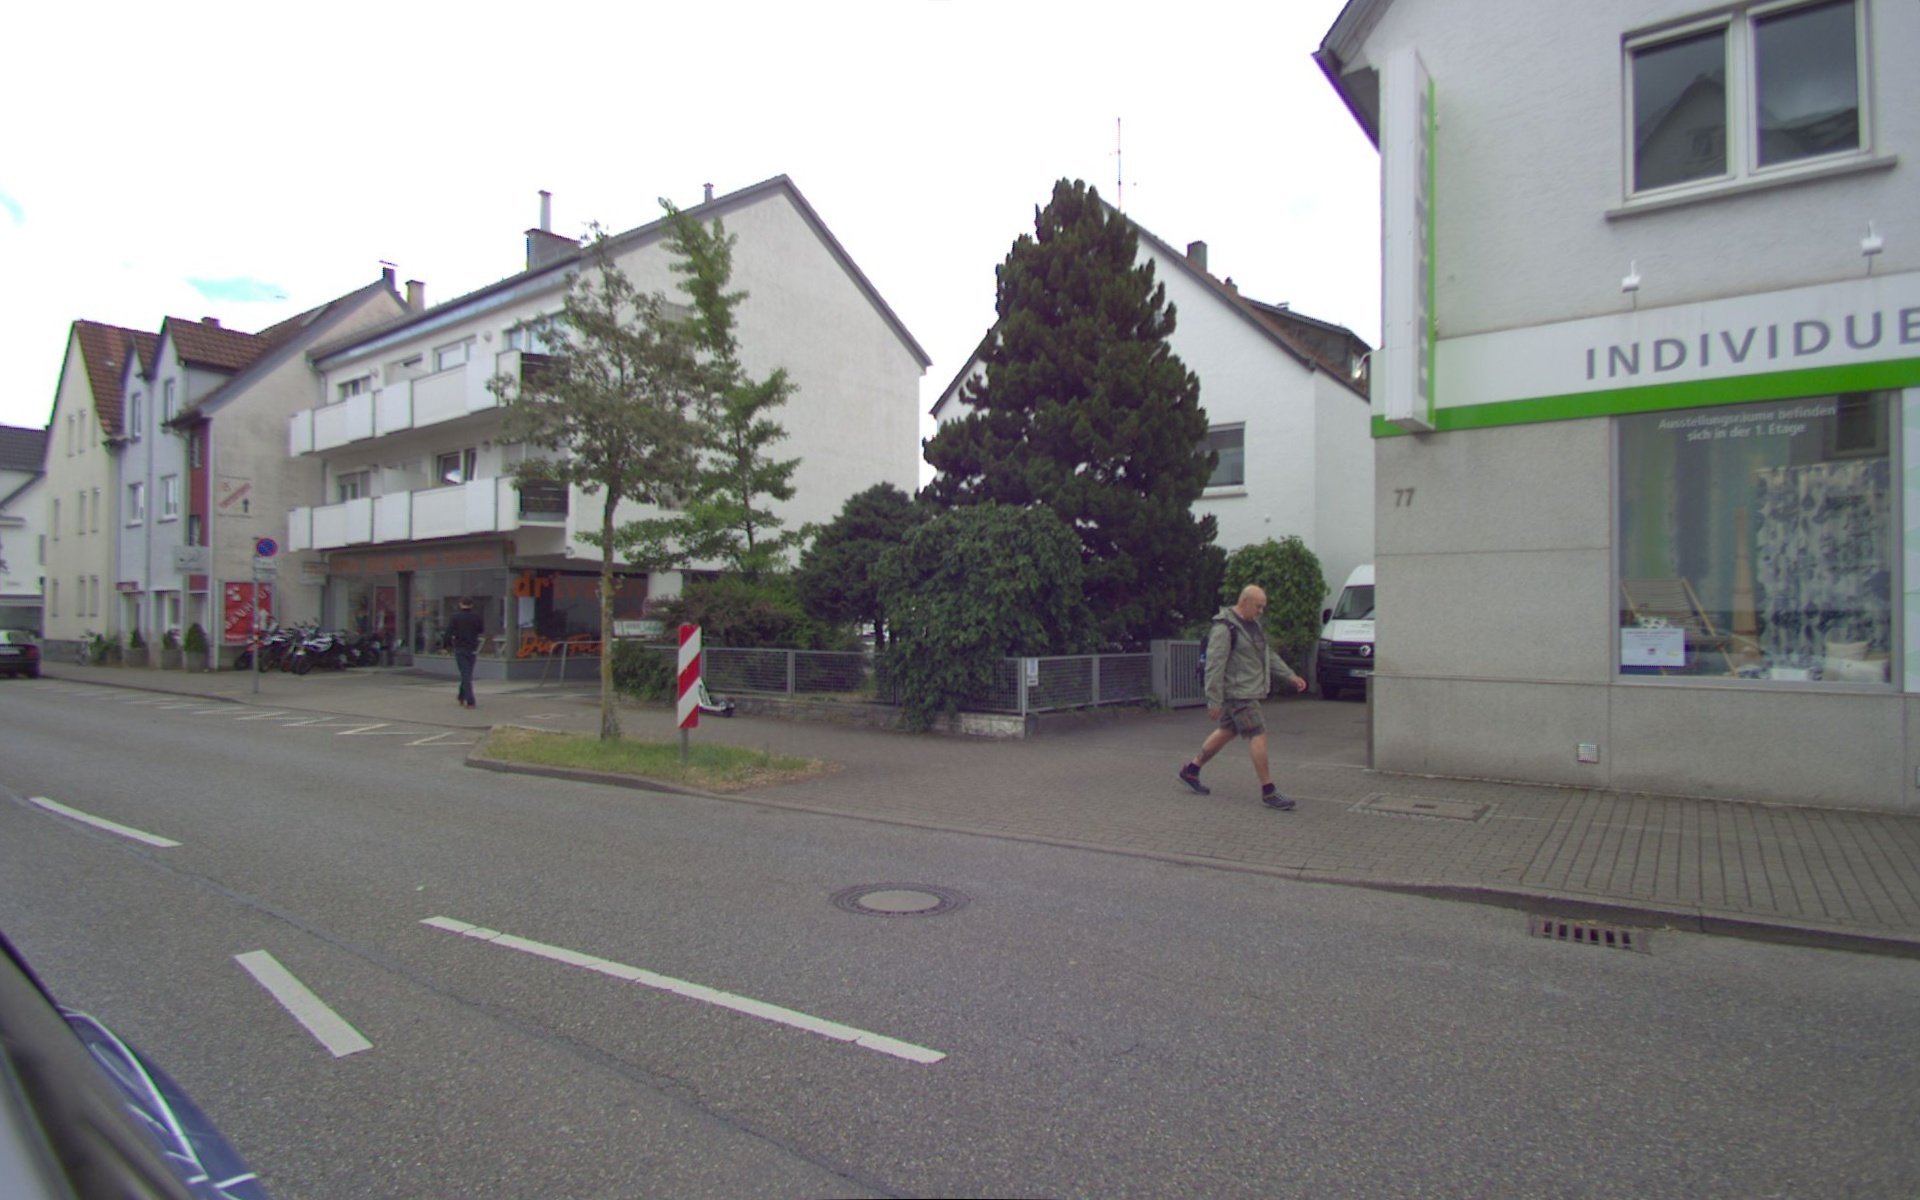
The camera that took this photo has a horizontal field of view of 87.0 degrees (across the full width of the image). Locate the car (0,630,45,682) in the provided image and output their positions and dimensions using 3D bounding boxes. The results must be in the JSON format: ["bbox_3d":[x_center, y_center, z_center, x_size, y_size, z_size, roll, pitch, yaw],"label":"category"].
[{"bbox_3d":[-28.362,1.582,29.459,4.333,1.428,1.771,-1,-2,37],"label":"car"}]

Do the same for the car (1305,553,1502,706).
[{"bbox_3d":[8.506,0.580,19.112,1.999,2.483,5.245,-1,-3,40],"label":"car"}]

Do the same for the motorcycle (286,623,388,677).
[{"bbox_3d":[-16.489,1.290,26.850,0.612,1.275,2.205,-1,1,36],"label":"motorcycle"}]

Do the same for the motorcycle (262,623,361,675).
[{"bbox_3d":[-17.839,1.314,27.894,0.612,1.275,2.205,-1,1,36],"label":"motorcycle"}]

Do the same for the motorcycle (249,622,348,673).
[{"bbox_3d":[-18.529,1.294,28.390,0.698,1.275,2.205,-1,1,36],"label":"motorcycle"}]

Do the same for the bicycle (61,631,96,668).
[{"bbox_3d":[-30.161,1.675,34.615,2.020,1.205,0.509,-1,-1,37],"label":"bicycle"}]

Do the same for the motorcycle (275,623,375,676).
[{"bbox_3d":[-17.155,1.302,27.391,0.612,1.275,2.205,-1,1,36],"label":"motorcycle"}]

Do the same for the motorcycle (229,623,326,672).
[{"bbox_3d":[-19.710,1.343,29.278,0.612,1.275,2.205,-1,1,36],"label":"motorcycle"}]

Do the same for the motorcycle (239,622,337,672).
[{"bbox_3d":[-19.120,1.324,28.845,0.612,1.275,2.205,-1,1,36],"label":"motorcycle"}]

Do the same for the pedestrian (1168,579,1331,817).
[{"bbox_3d":[2.320,0.731,8.117,1.018,1.756,0.744,-1,1,38],"label":"pedestrian"}]

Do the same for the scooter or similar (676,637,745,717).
[{"bbox_3d":[-3.689,1.120,14.920,1.178,1.120,0.336,-1,-1,38],"label":"scooter or similar"}]

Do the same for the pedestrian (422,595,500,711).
[{"bbox_3d":[-8.459,0.870,17.152,1.018,1.863,0.744,-1,2,38],"label":"pedestrian"}]
